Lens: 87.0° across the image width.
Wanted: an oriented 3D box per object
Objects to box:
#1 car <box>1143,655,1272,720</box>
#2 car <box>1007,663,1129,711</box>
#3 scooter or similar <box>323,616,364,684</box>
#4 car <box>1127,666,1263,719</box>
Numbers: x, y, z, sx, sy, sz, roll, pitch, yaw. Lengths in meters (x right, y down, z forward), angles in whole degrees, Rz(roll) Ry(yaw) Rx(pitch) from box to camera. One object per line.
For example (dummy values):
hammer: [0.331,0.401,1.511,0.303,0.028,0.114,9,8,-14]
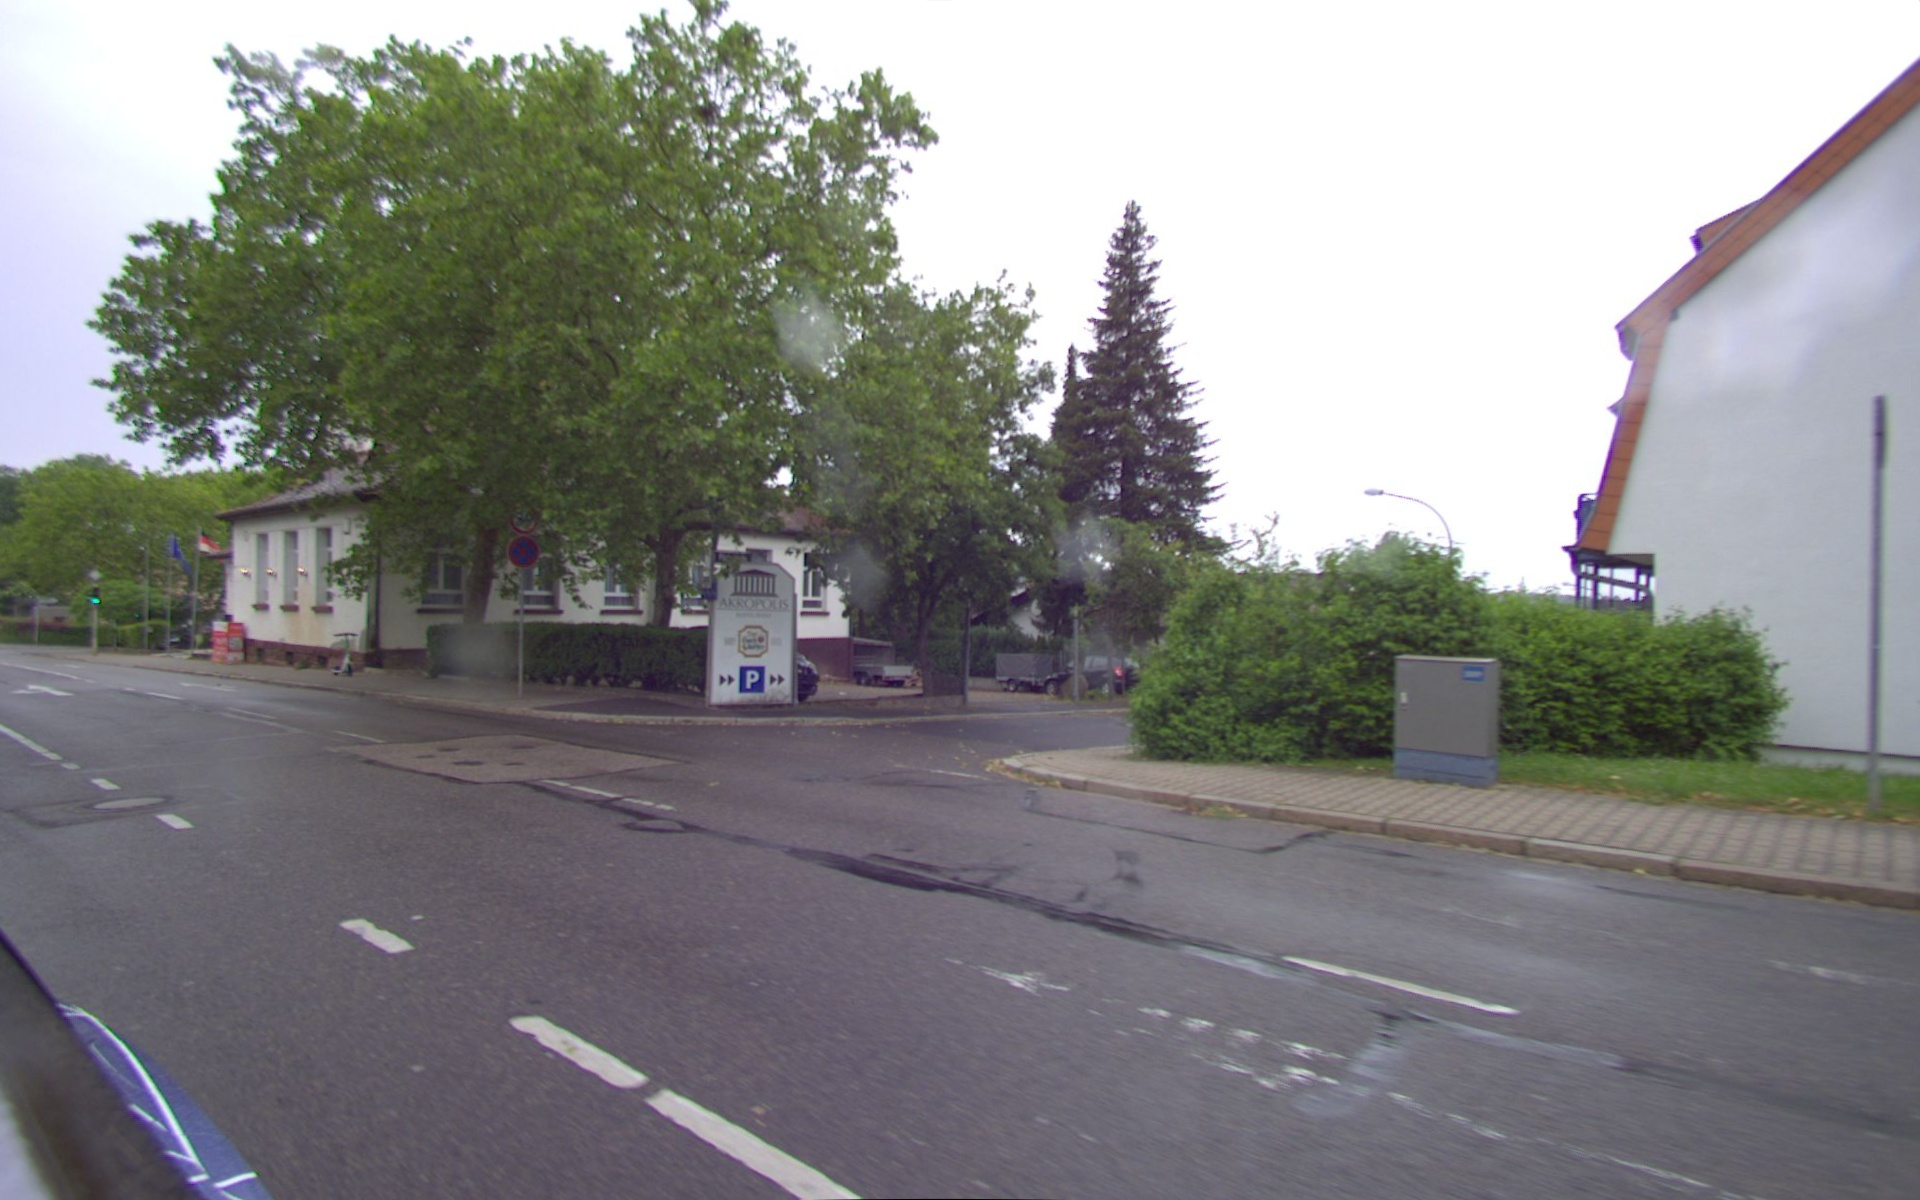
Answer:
car: [6.246,2.131,25.271,1.735,1.453,3.950,-1,-4,37]
car: [3.881,3.115,36.670,3.995,1.597,1.974,-2,-4,39]
scooter or similar: [-16.628,1.333,27.266,1.510,1.788,0.397,0,-1,37]
car: [7.822,3.024,33.814,3.995,1.597,1.974,-2,-4,39]
